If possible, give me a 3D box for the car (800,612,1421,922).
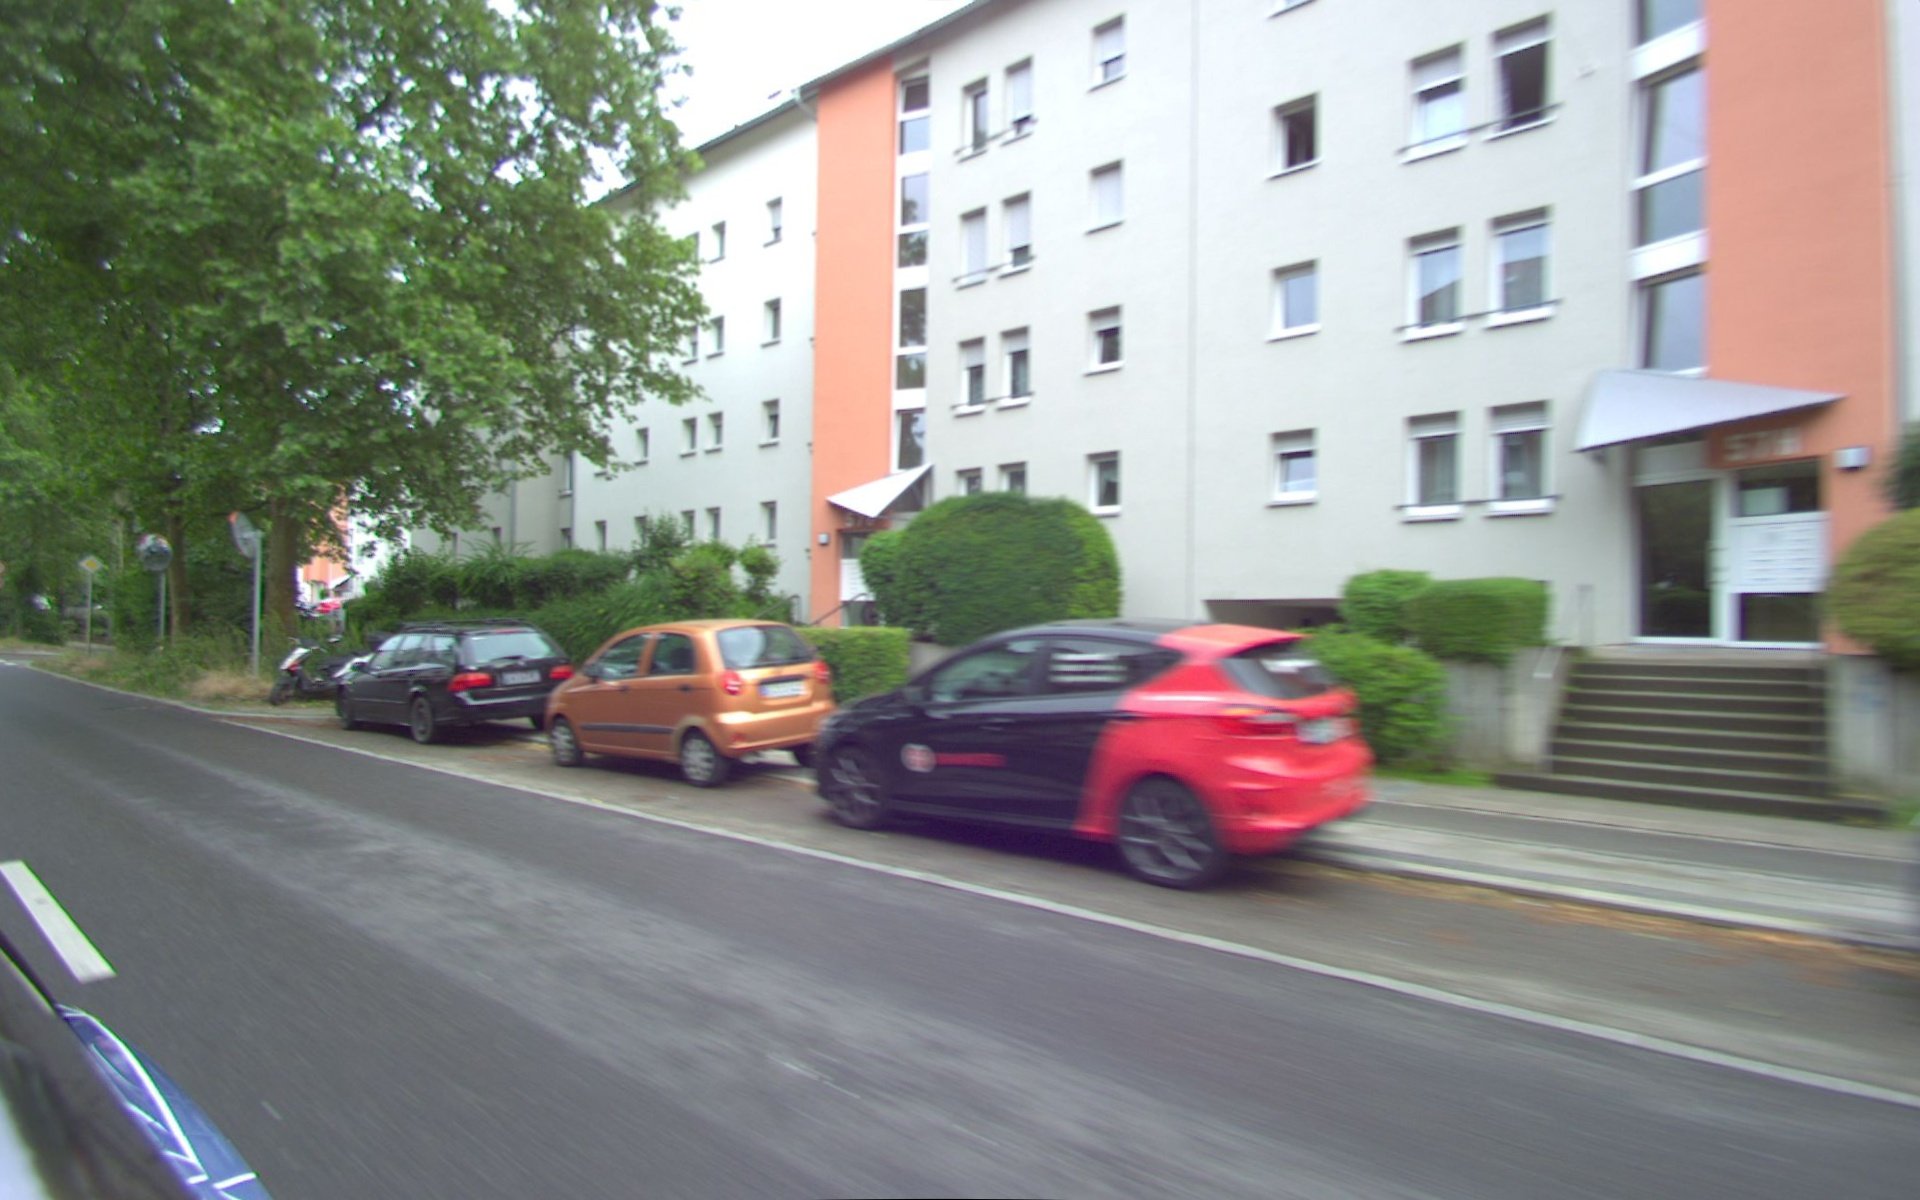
[{"bbox_3d":[0.827,0.841,6.722,3.752,1.478,1.699,-1,-1,40],"label":"car"}]

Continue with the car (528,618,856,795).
[{"bbox_3d":[-2.798,0.940,10.246,3.394,1.478,1.540,-1,-1,40],"label":"car"}]

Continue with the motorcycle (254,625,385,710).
[{"bbox_3d":[-10.803,1.116,17.113,0.722,1.350,1.695,-1,-3,41],"label":"motorcycle"}]

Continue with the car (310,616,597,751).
[{"bbox_3d":[-7.010,1.009,13.754,4.799,1.521,1.700,-1,-1,39],"label":"car"}]

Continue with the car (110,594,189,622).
[{"bbox_3d":[-53.096,0.512,66.334,1.736,1.701,3.755,0,1,38],"label":"car"}]

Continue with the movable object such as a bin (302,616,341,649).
[{"bbox_3d":[-30.669,1.542,48.625,1.300,1.474,1.150,-1,3,40],"label":"movable object such as a bin"}]
